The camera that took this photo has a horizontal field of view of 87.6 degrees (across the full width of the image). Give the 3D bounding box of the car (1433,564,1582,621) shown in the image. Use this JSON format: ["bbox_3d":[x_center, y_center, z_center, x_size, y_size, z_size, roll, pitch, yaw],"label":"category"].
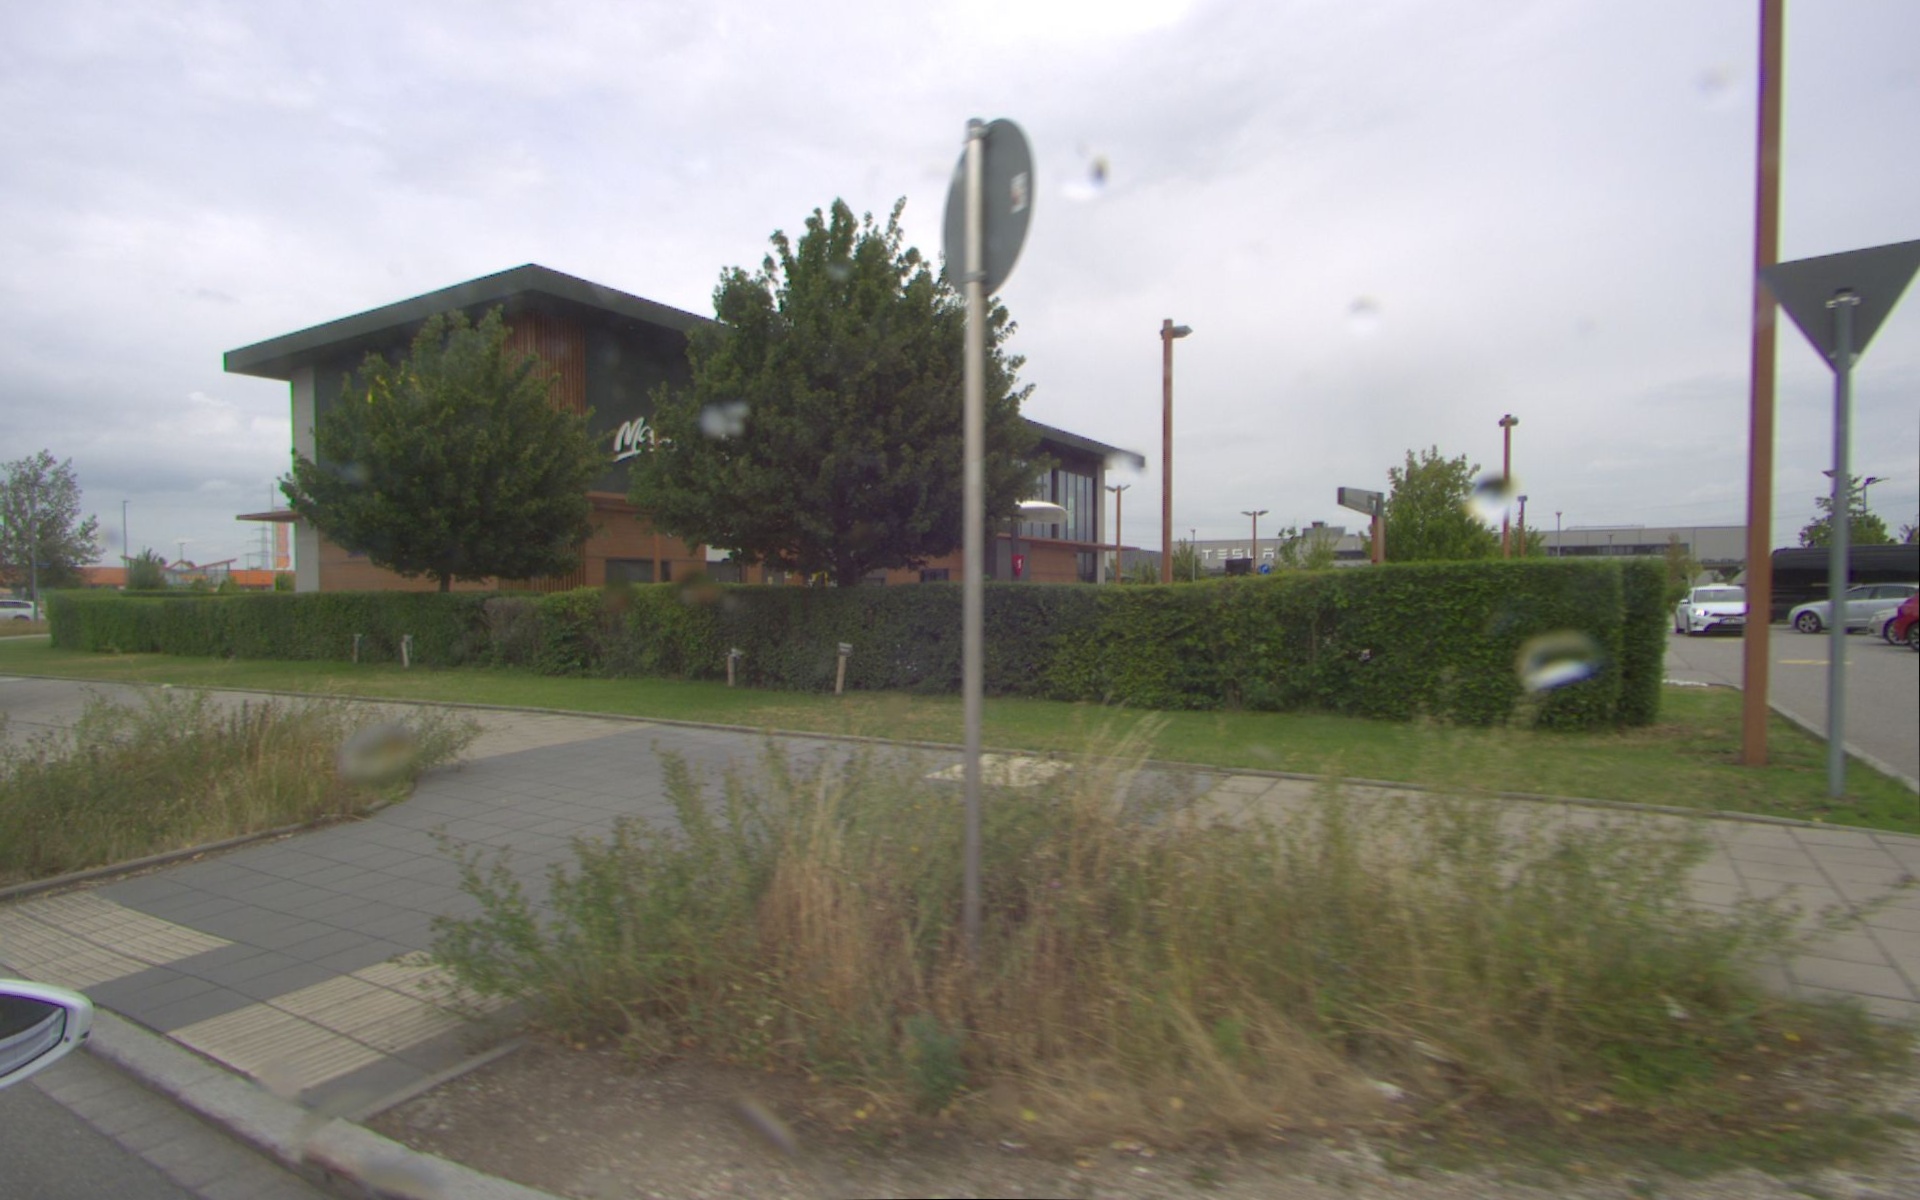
[{"bbox_3d":[25.411,-0.336,46.589,5.932,2.562,2.279,0,1,-9],"label":"car"}]

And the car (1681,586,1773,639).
[{"bbox_3d":[22.612,0.338,29.670,1.930,1.462,4.193,0,0,34],"label":"car"}]

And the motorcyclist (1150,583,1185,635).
[{"bbox_3d":[7.565,0.335,36.561,0.948,1.856,0.843,0,0,-21],"label":"motorcyclist"}]

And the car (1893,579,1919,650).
[{"bbox_3d":[20.800,0.298,18.998,1.969,1.448,4.149,0,0,-12],"label":"car"}]

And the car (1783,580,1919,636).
[{"bbox_3d":[25.997,0.209,28.046,1.921,1.462,4.211,-1,0,-15],"label":"car"}]

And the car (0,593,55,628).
[{"bbox_3d":[-50.165,0.560,51.946,1.977,1.780,4.579,0,0,41],"label":"car"}]

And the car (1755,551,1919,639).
[{"bbox_3d":[28.582,-0.148,30.147,2.241,2.535,7.314,0,0,-16],"label":"car"}]
